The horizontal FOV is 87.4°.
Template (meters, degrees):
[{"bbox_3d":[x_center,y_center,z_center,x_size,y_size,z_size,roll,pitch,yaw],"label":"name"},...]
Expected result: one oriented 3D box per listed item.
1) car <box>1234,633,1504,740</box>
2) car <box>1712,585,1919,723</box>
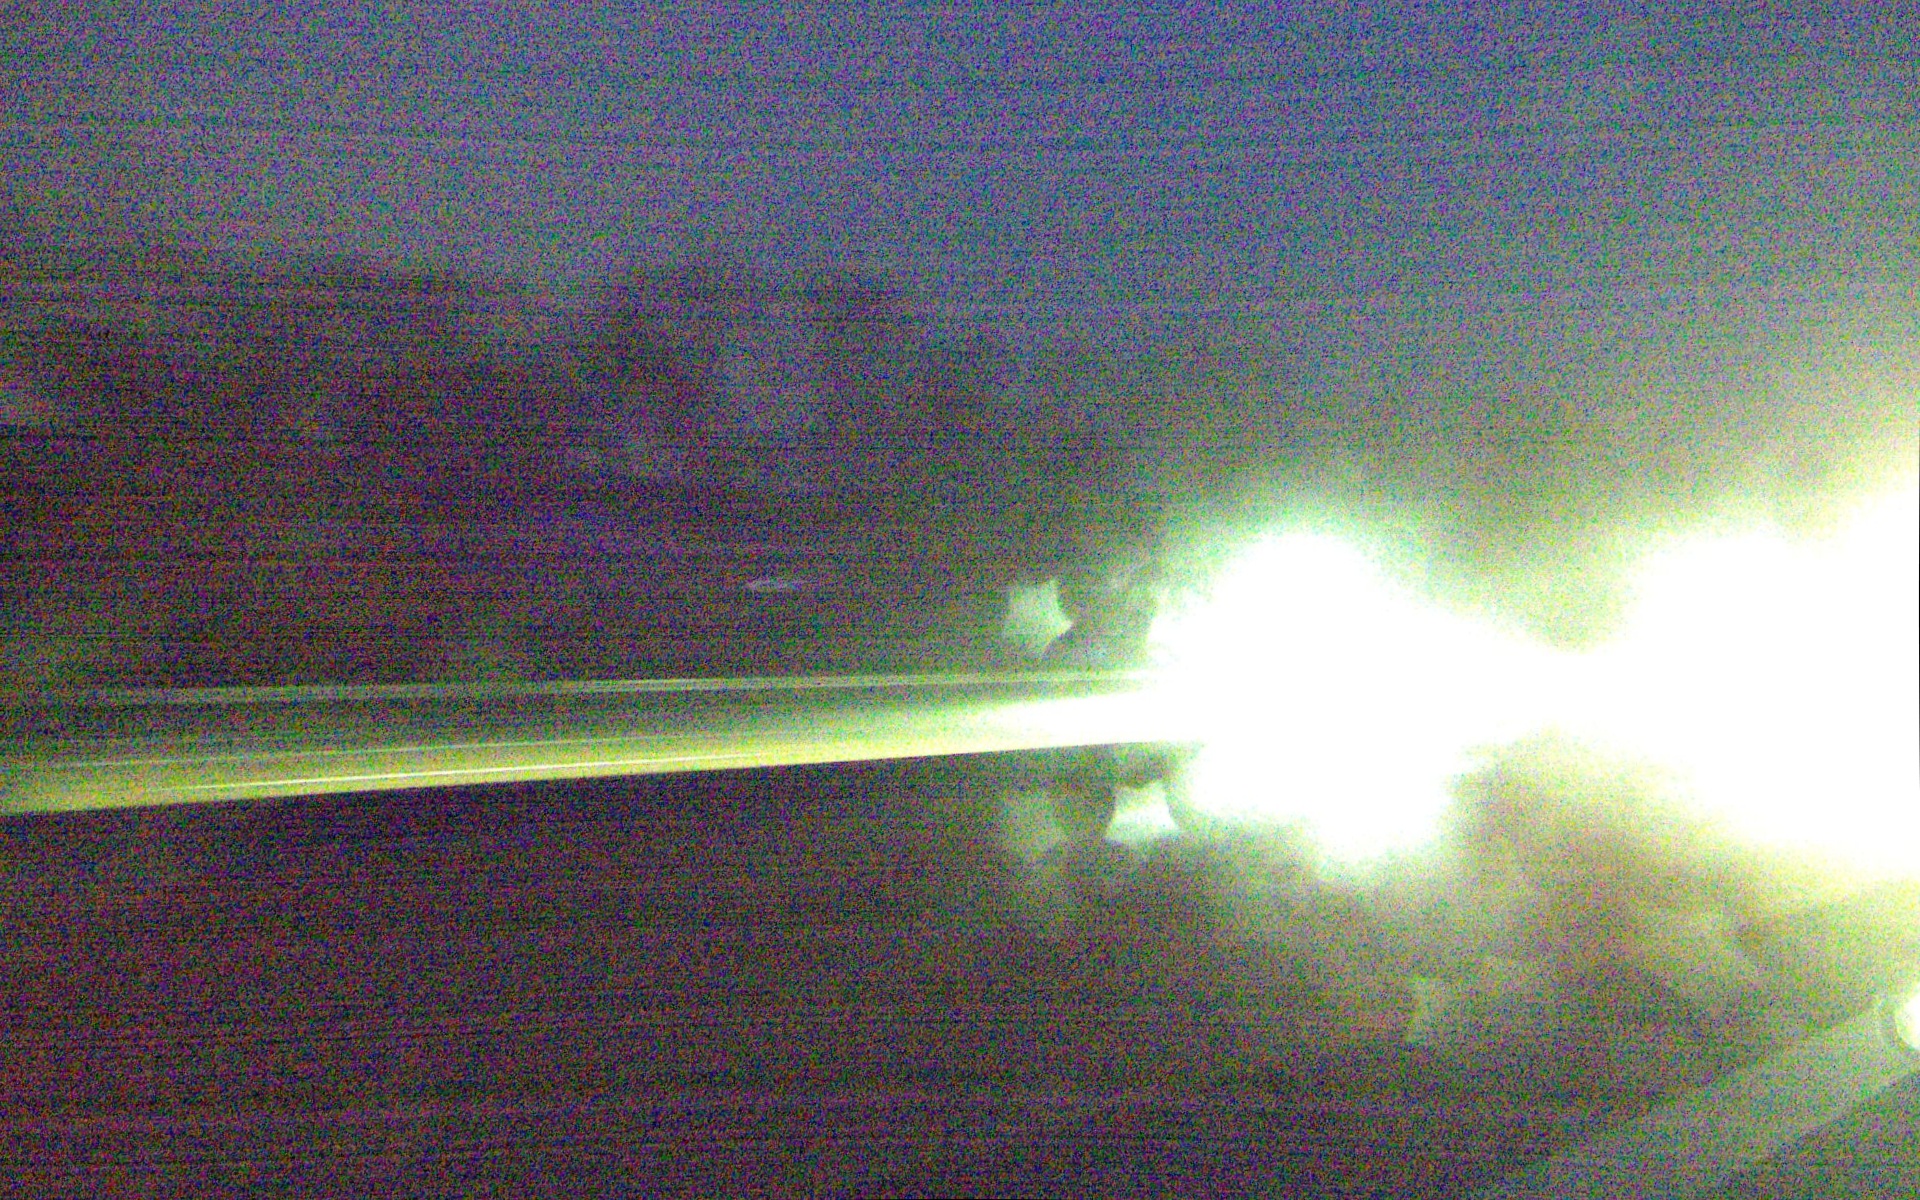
[{"bbox_3d":[7.319,1.449,17.872,4.752,1.685,1.985,2,-2,-30],"label":"car"},{"bbox_3d":[33.949,1.895,38.866,10.464,4.792,3.690,1,1,-28],"label":"car"}]
